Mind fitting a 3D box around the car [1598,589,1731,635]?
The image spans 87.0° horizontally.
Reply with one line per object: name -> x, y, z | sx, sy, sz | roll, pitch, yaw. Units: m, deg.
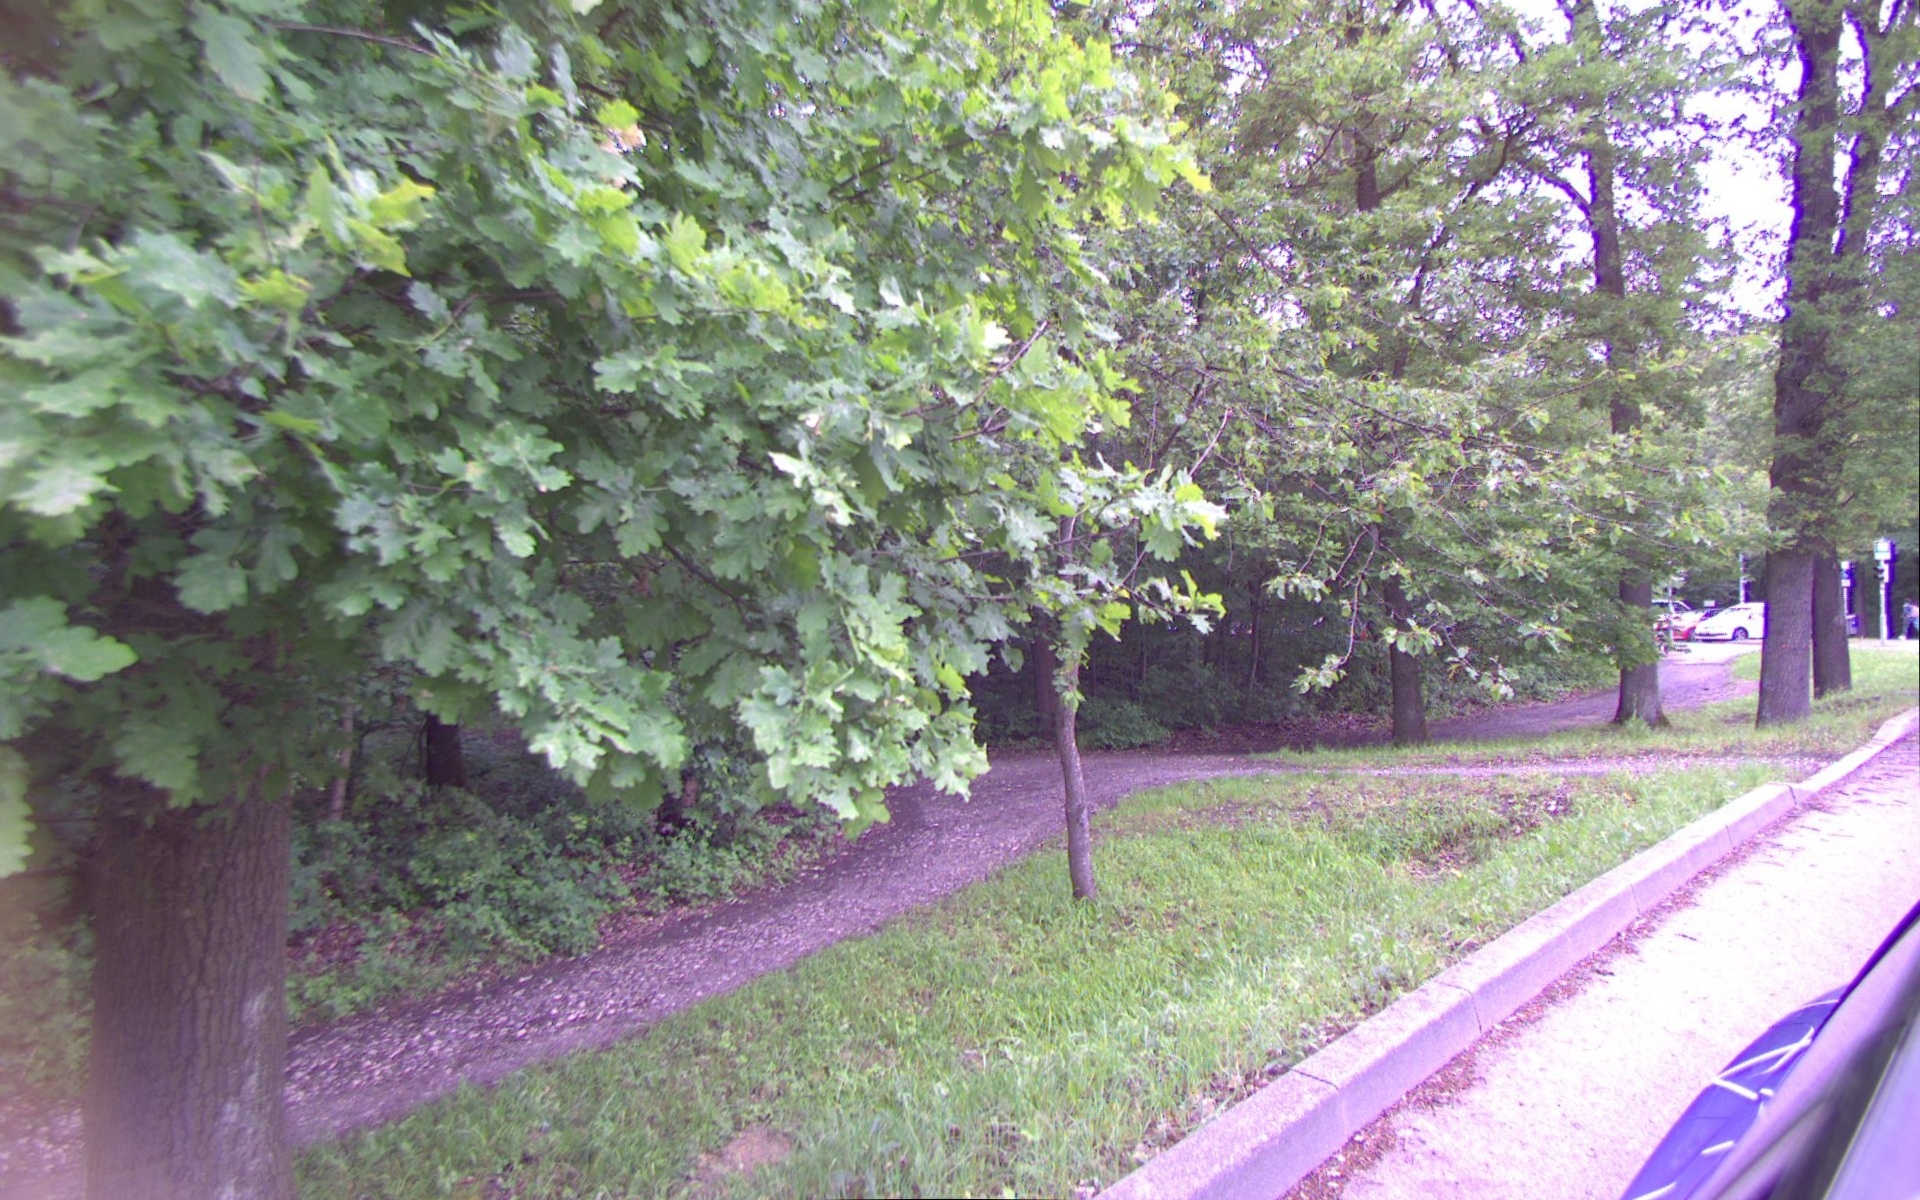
car -> 33.500, 0.583, 48.181 | 5.077, 1.982, 2.065 | -2, -2, -10

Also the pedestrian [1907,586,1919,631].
pedestrian -> 37.083, 0.321, 38.749 | 1.088, 1.697, 0.899 | -1, 0, 38

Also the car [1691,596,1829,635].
car -> 33.965, 0.672, 43.043 | 4.332, 1.572, 2.001 | -1, -2, -6

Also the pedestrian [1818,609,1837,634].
pedestrian -> 59.774, 1.483, 69.702 | 1.018, 1.672, 0.831 | 1, -3, -43

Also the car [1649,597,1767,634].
car -> 33.615, 0.713, 45.551 | 3.920, 1.572, 1.896 | -1, -2, -6
